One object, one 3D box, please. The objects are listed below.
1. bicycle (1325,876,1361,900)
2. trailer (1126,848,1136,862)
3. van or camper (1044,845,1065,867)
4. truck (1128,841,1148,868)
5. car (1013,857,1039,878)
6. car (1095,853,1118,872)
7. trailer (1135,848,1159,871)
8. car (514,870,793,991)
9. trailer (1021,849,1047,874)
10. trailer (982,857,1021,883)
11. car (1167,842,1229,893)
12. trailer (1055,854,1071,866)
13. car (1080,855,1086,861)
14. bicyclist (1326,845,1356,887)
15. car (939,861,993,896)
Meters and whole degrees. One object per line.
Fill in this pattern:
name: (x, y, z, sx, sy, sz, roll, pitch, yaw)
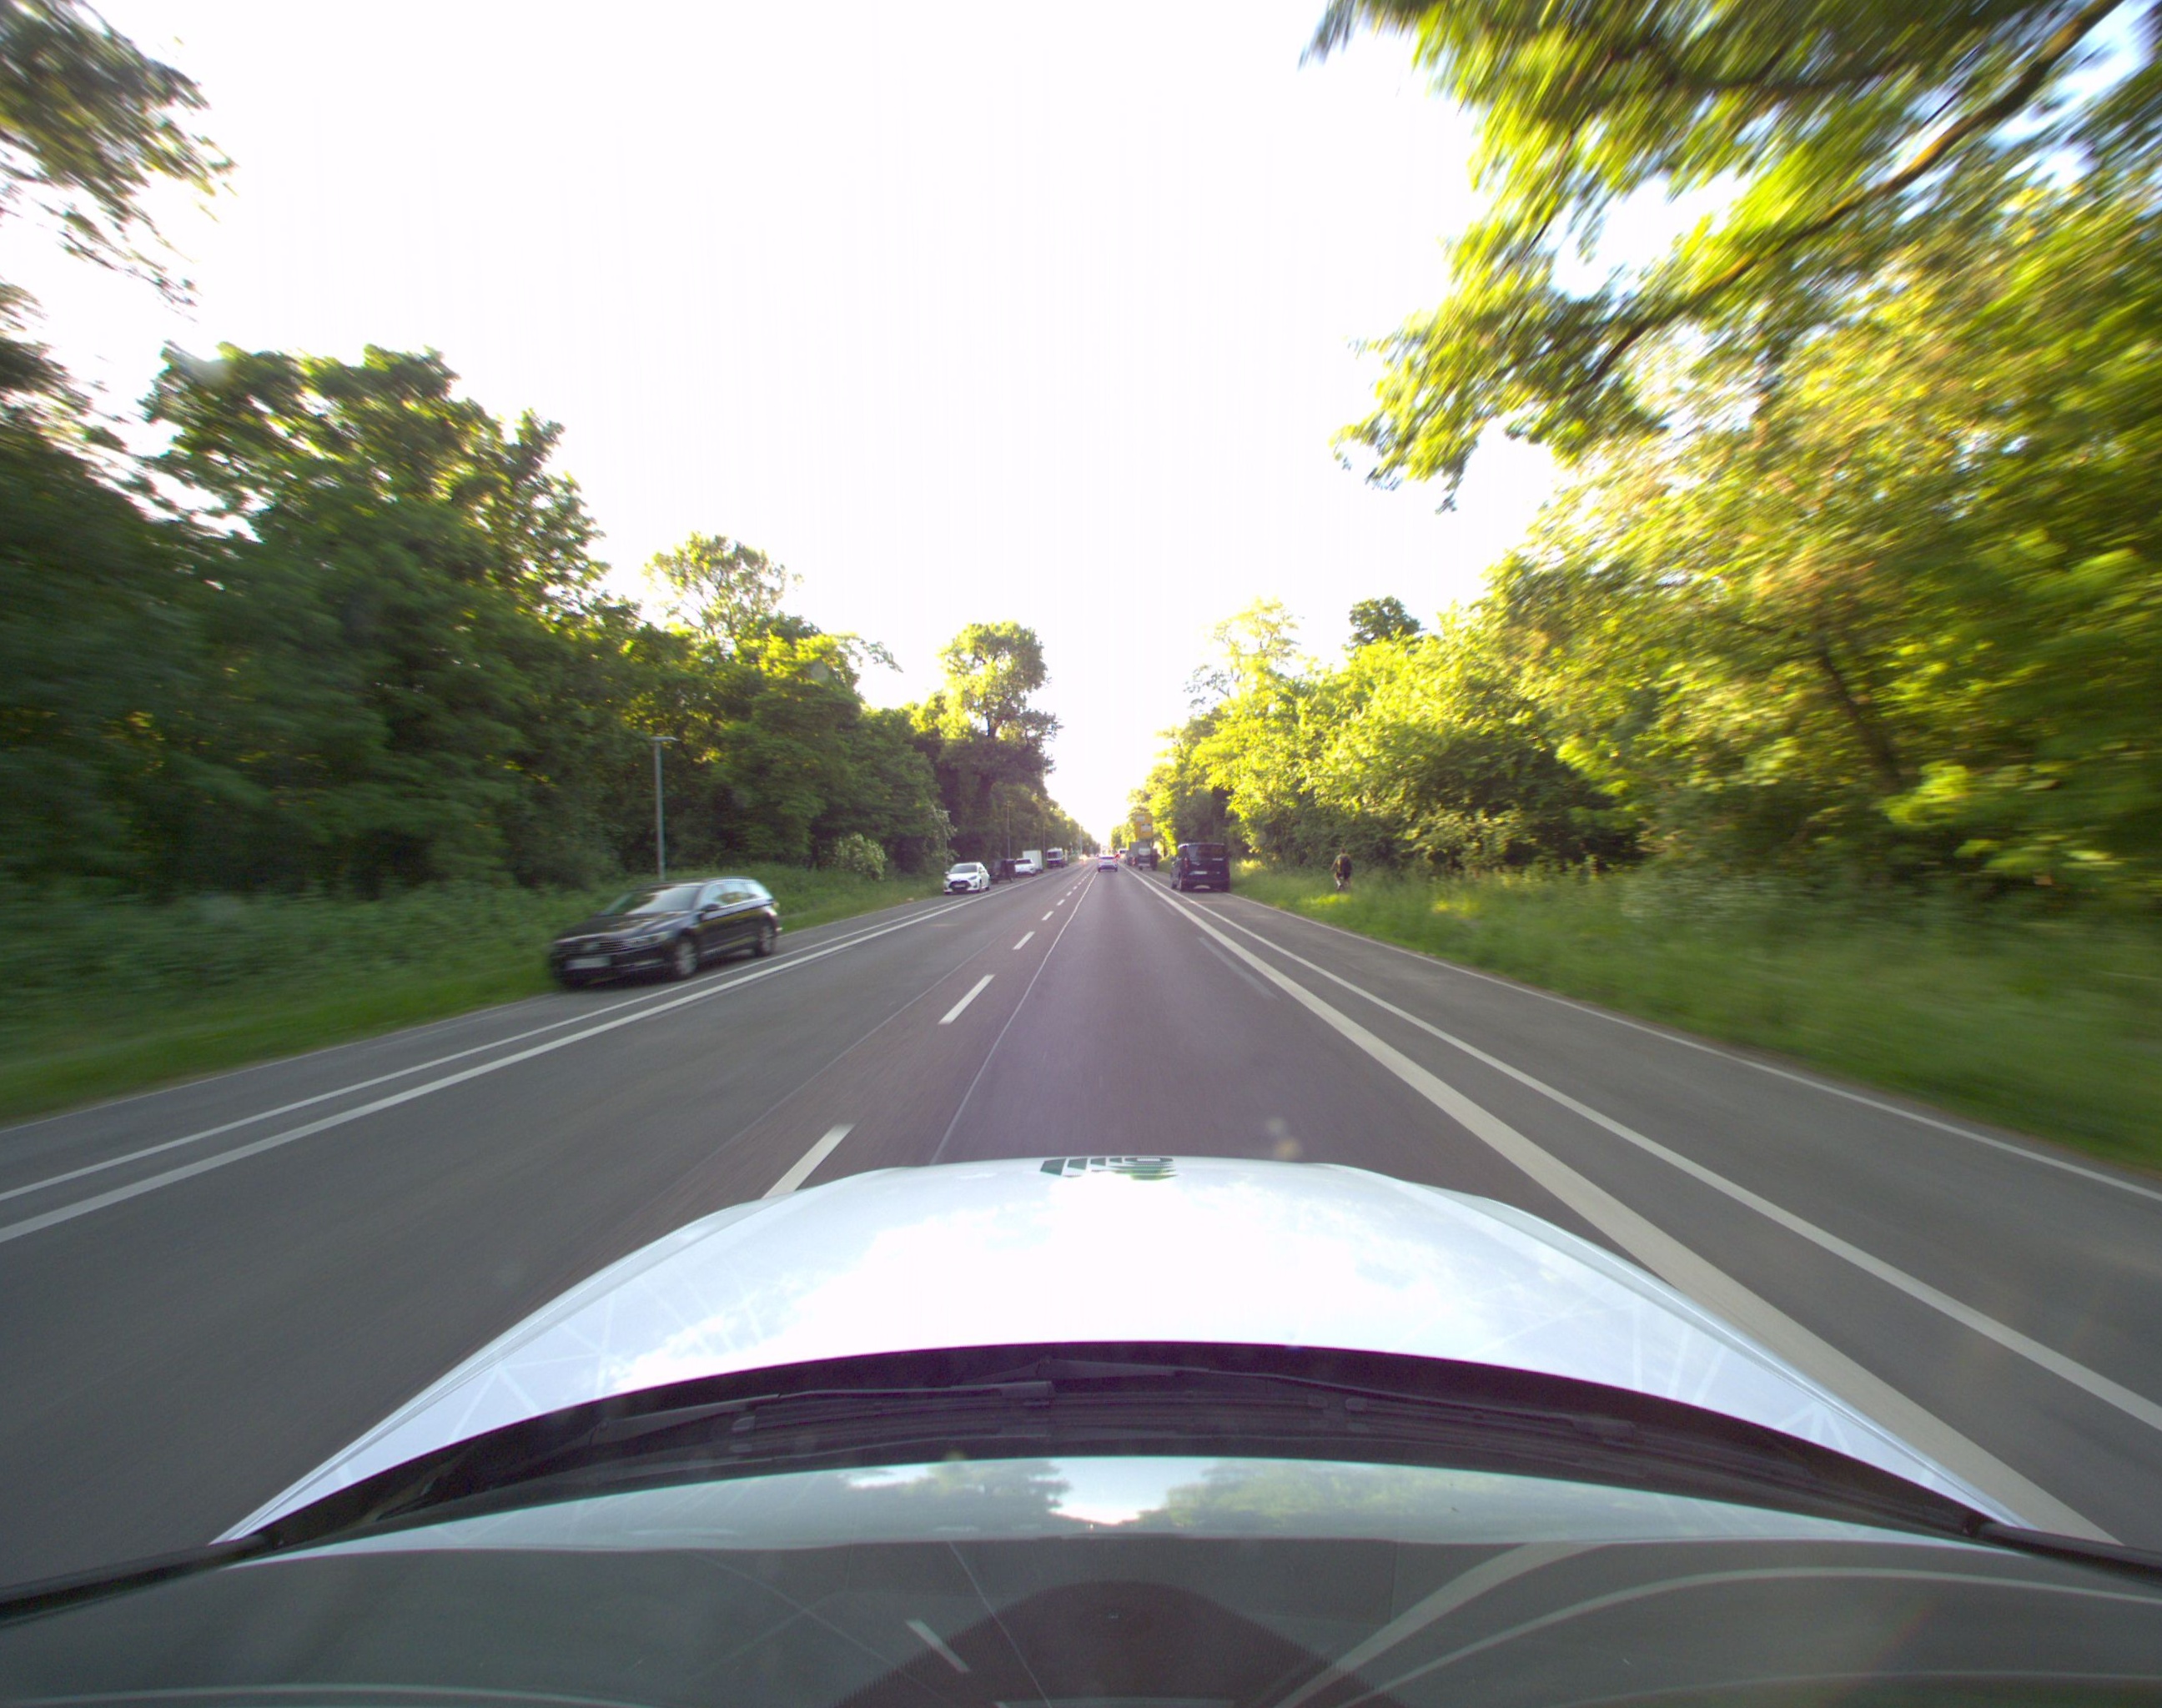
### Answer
bicycle: (8.529, 1.107, 26.561, 0.589, 0.692, 1.997, -1, 0, 2)
trailer: (8.102, 0.225, 132.497, 1.494, 2.235, 4.552, 0, 0, 2)
van or camper: (-3.619, 0.312, 111.948, 2.293, 2.768, 5.559, -4, 0, 2)
truck: (7.598, 0.099, 108.933, 2.495, 3.366, 7.111, -1, 0, 2)
car: (-4.565, 1.084, 67.837, 1.808, 1.571, 4.206, -4, 0, 0)
car: (2.347, 0.775, 75.133, 1.986, 1.640, 4.002, -2, 0, 2)
trailer: (6.407, 0.515, 79.010, 1.600, 2.112, 2.409, -1, 0, 22)
car: (-6.531, 1.070, 13.226, 1.848, 1.464, 4.786, -2, 0, 2)
trailer: (-4.704, 0.749, 81.421, 2.066, 2.293, 3.490, -3, 0, 4)
trailer: (-5.175, 1.022, 53.146, 1.383, 1.574, 2.689, -2, 0, 22)
car: (4.933, 0.525, 34.866, 2.105, 2.013, 5.042, 0, 0, 2)
trailer: (-2.715, 0.915, 125.484, 1.459, 1.659, 3.379, -4, -1, 14)
car: (0.545, 1.152, 237.228, 1.672, 1.415, 4.002, -2, 0, 2)
bicyclist: (8.488, 0.384, 26.595, 0.608, 1.324, 1.176, -1, 0, 2)
car: (-5.618, 1.164, 40.247, 1.860, 1.450, 4.073, -4, 0, 2)
